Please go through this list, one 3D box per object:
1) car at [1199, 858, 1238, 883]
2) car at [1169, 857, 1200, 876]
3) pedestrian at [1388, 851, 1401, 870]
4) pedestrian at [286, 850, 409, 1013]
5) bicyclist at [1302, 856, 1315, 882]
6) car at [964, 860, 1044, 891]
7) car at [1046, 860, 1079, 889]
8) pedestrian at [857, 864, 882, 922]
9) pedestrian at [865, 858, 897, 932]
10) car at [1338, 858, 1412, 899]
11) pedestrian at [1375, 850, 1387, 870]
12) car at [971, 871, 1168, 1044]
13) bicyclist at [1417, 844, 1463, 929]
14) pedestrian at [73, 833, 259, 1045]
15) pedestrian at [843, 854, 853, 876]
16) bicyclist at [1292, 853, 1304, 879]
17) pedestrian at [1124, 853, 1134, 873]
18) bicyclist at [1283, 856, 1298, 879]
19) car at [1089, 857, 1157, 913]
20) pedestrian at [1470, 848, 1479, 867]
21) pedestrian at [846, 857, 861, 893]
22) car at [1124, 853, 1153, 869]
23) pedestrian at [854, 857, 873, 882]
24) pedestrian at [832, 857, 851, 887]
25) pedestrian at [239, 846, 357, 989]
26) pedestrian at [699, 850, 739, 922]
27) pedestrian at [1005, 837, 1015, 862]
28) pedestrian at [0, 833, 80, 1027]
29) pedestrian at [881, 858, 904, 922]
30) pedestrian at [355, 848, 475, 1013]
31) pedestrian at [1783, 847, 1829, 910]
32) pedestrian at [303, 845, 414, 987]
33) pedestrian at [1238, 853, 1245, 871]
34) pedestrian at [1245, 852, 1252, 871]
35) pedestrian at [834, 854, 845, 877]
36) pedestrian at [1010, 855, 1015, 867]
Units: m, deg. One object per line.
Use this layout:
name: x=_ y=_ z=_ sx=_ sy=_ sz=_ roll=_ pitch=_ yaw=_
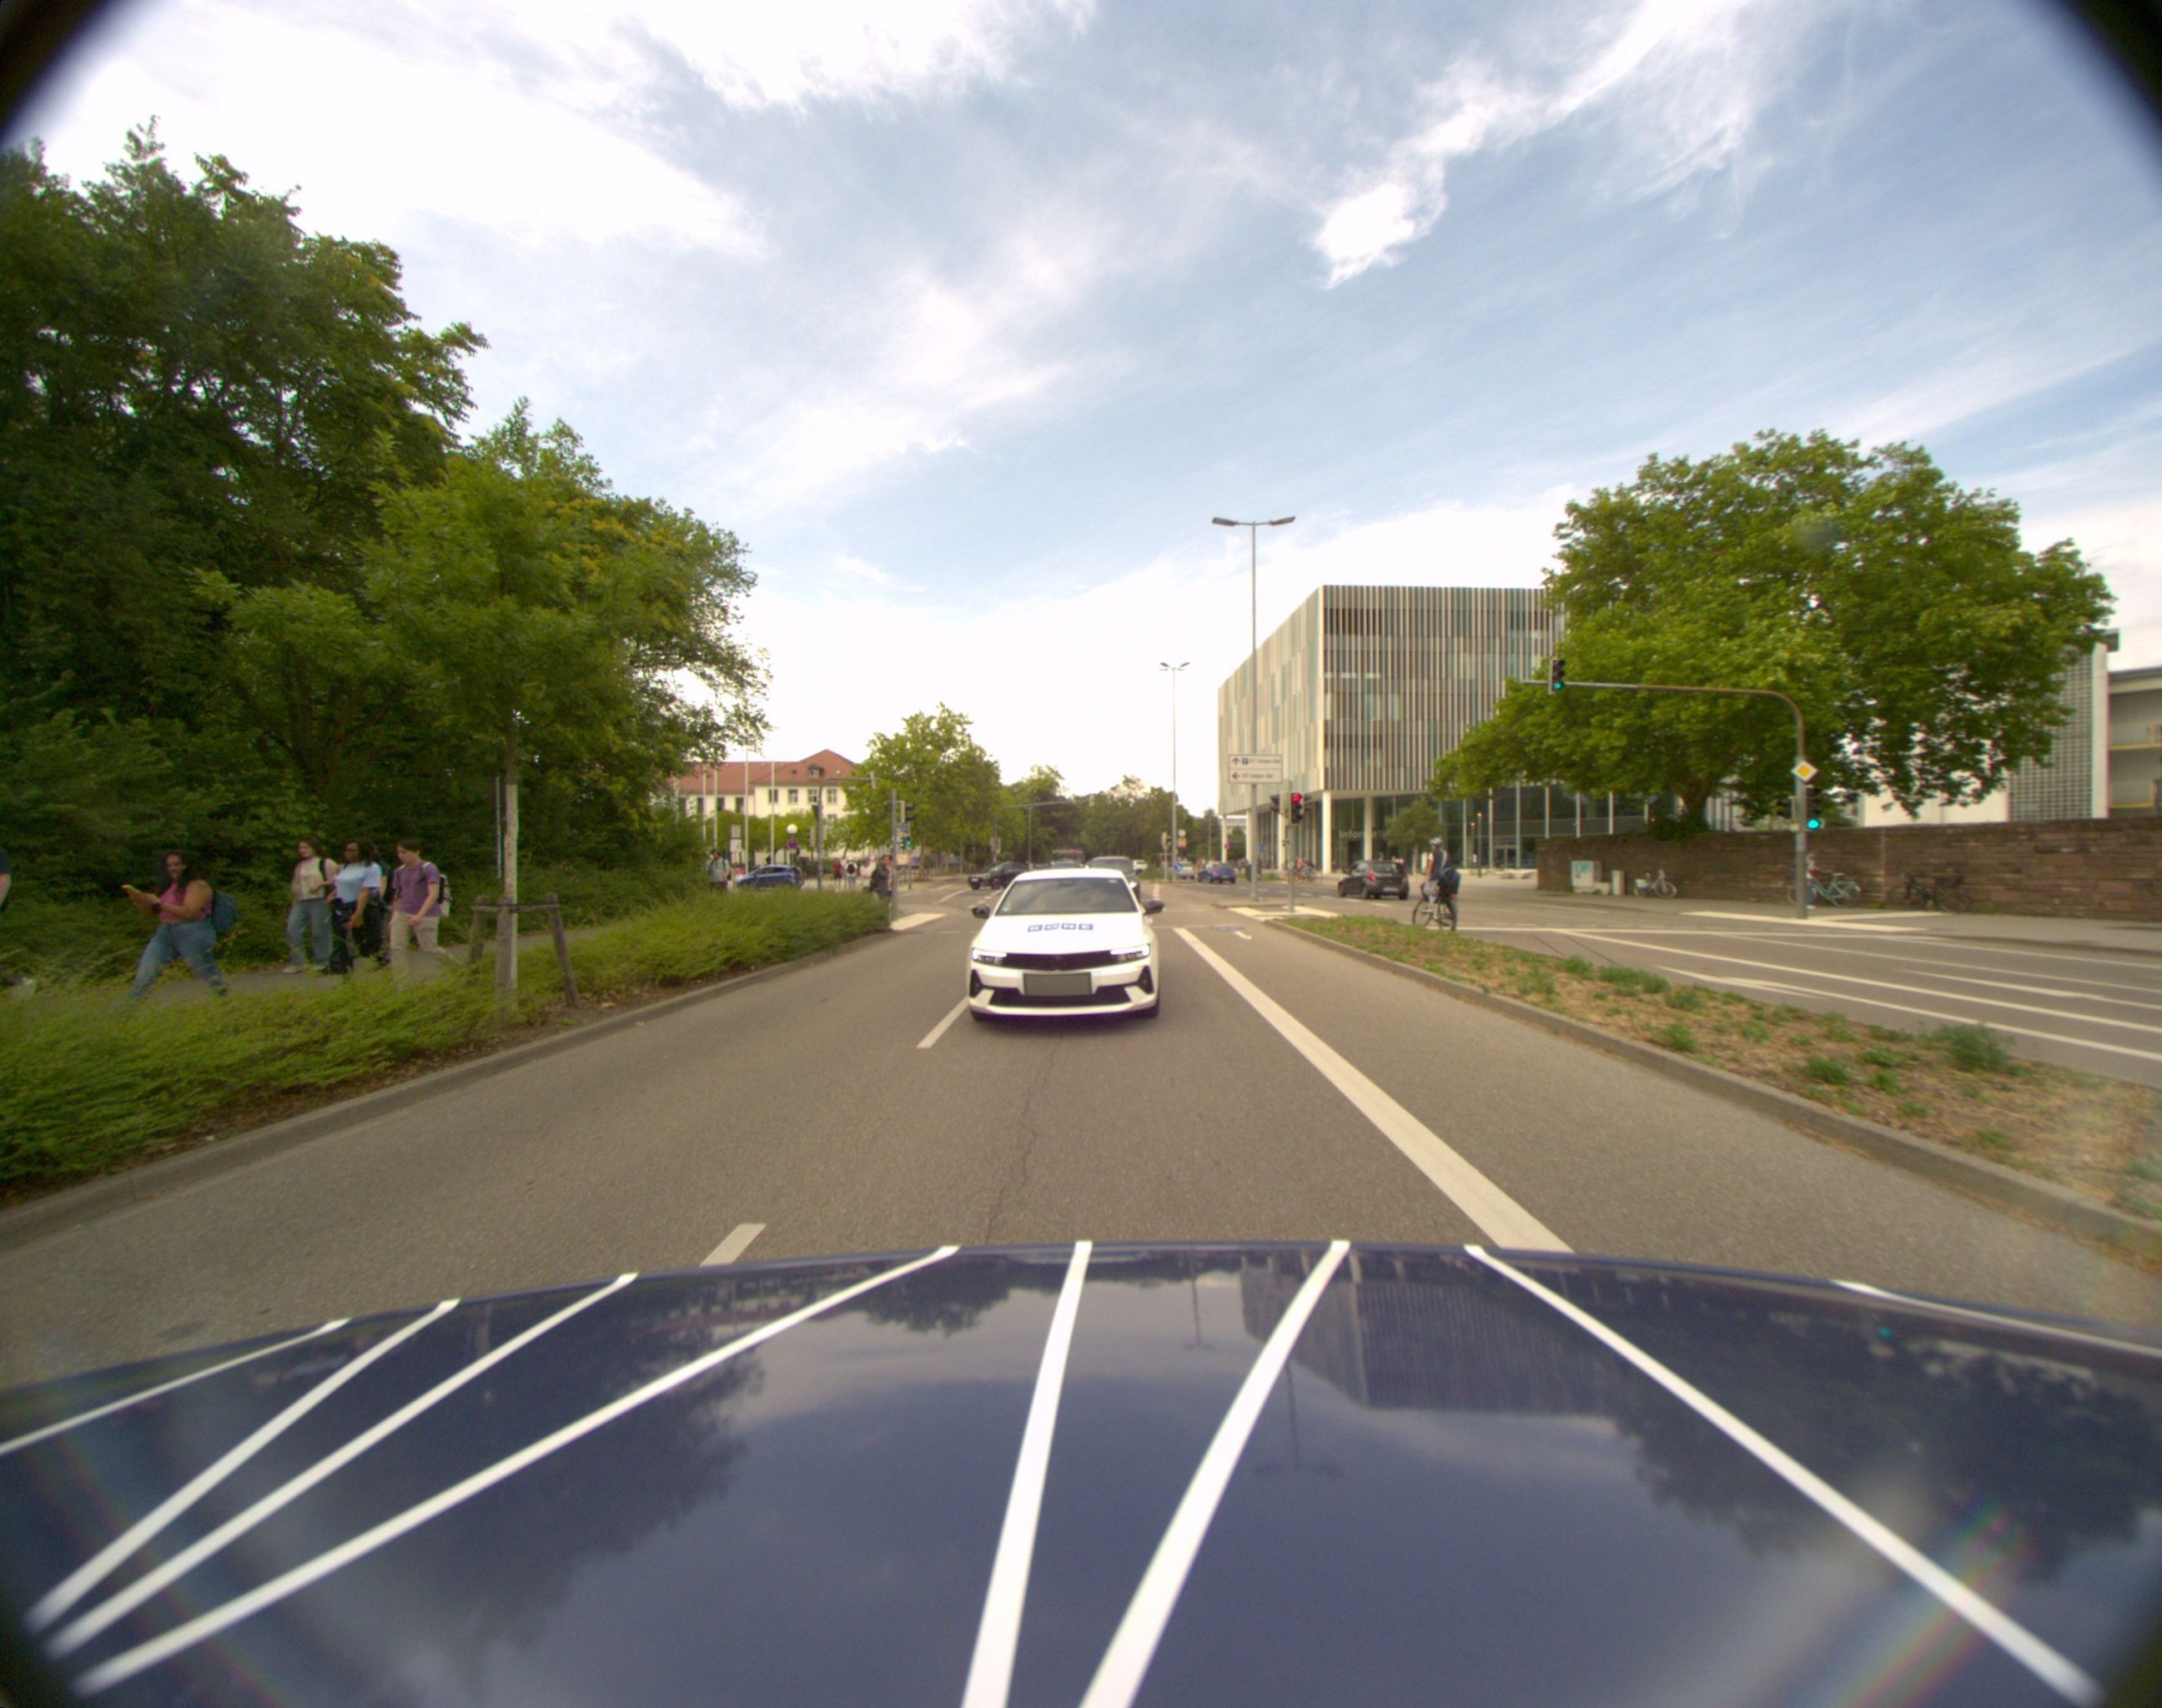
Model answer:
car: x=9.254 y=1.106 z=51.351 sx=1.806 sy=1.503 sz=4.102 roll=0 pitch=1 yaw=-1
car: x=8.487 y=1.037 z=62.615 sx=1.806 sy=1.480 sz=4.288 roll=0 pitch=0 yaw=-1
pedestrian: x=26.670 y=0.542 z=64.646 sx=0.731 sy=1.591 sz=0.677 roll=-1 pitch=1 yaw=-32
pedestrian: x=-8.122 y=0.823 z=8.448 sx=0.582 sy=1.735 sz=0.789 roll=0 pitch=0 yaw=-1
bicyclist: x=15.657 y=1.045 z=52.349 sx=0.602 sy=1.796 sz=0.561 roll=2 pitch=0 yaw=-18
car: x=-4.399 y=1.197 z=43.642 sx=4.183 sy=1.547 sz=1.800 roll=-2 pitch=1 yaw=-39
car: x=-1.027 y=1.092 z=41.314 sx=1.703 sy=1.485 sz=3.831 roll=0 pitch=0 yaw=-2
pedestrian: x=-6.207 y=1.142 z=22.345 sx=0.547 sy=1.677 sz=0.637 roll=0 pitch=1 yaw=-1
pedestrian: x=-4.788 y=0.973 z=18.225 sx=0.603 sy=1.725 sz=0.654 roll=0 pitch=1 yaw=-1
car: x=11.335 y=0.897 z=29.543 sx=1.575 sy=1.480 sz=3.637 roll=1 pitch=0 yaw=3
pedestrian: x=25.819 y=0.533 z=65.318 sx=0.731 sy=1.730 sz=0.677 roll=-1 pitch=1 yaw=-35
car: x=-0.190 y=0.969 z=9.163 sx=1.744 sy=1.430 sz=4.781 roll=0 pitch=0 yaw=-2
bicyclist: x=6.738 y=0.595 z=14.279 sx=0.573 sy=1.564 sz=0.699 roll=0 pitch=0 yaw=5
pedestrian: x=-7.918 y=0.698 z=6.616 sx=0.658 sy=1.735 sz=0.780 roll=0 pitch=0 yaw=-1
pedestrian: x=-20.886 y=0.993 z=68.097 sx=0.687 sy=1.951 sz=0.601 roll=-2 pitch=1 yaw=-41
bicyclist: x=15.431 y=0.836 z=54.057 sx=0.602 sy=1.796 sz=0.561 roll=-2 pitch=1 yaw=-16
pedestrian: x=4.435 y=0.803 z=70.256 sx=0.727 sy=1.842 sz=1.064 roll=-1 pitch=0 yaw=-4
bicyclist: x=15.381 y=1.005 z=55.872 sx=0.729 sy=1.663 sz=0.723 roll=-2 pitch=1 yaw=-16
car: x=1.287 y=0.940 z=25.018 sx=1.904 sy=1.639 sz=4.644 roll=-1 pitch=0 yaw=-1
pedestrian: x=35.936 y=0.333 z=69.369 sx=0.635 sy=1.768 sz=0.598 roll=0 pitch=1 yaw=44
pedestrian: x=-11.920 y=1.099 z=39.788 sx=0.647 sy=1.841 sz=0.828 roll=-2 pitch=1 yaw=-13
car: x=6.280 y=0.734 z=83.899 sx=1.871 sy=1.642 sz=4.416 roll=-1 pitch=0 yaw=-15
pedestrian: x=-14.886 y=1.060 z=51.966 sx=0.953 sy=1.698 sz=0.702 roll=-2 pitch=1 yaw=17
pedestrian: x=-14.448 y=1.088 z=45.892 sx=0.769 sy=1.794 sz=0.892 roll=-2 pitch=1 yaw=3
pedestrian: x=-9.844 y=0.773 z=9.583 sx=0.658 sy=1.735 sz=0.780 roll=0 pitch=0 yaw=-1
pedestrian: x=-9.274 y=0.807 z=19.492 sx=0.646 sy=1.785 sz=0.740 roll=0 pitch=1 yaw=-1
pedestrian: x=-5.083 y=-0.315 z=54.367 sx=0.574 sy=1.806 sz=0.682 roll=-1 pitch=1 yaw=1
pedestrian: x=-10.023 y=0.684 z=6.959 sx=0.658 sy=1.735 sz=0.780 roll=0 pitch=0 yaw=-1
pedestrian: x=-5.132 y=0.971 z=20.697 sx=0.455 sy=1.725 sz=0.637 roll=0 pitch=1 yaw=-1
pedestrian: x=-7.330 y=0.809 z=8.401 sx=0.626 sy=1.735 sz=0.780 roll=0 pitch=0 yaw=-1
pedestrian: x=20.925 y=0.694 z=21.943 sx=0.748 sy=1.772 sz=0.782 roll=-2 pitch=2 yaw=-33
pedestrian: x=-9.192 y=0.764 z=9.699 sx=0.658 sy=1.735 sz=0.780 roll=0 pitch=0 yaw=-1
pedestrian: x=15.643 y=0.781 z=74.094 sx=0.512 sy=1.826 sz=0.772 roll=0 pitch=-1 yaw=-2
pedestrian: x=16.375 y=0.743 z=74.158 sx=0.512 sy=1.826 sz=0.624 roll=0 pitch=0 yaw=-2
pedestrian: x=-21.460 y=1.014 z=67.479 sx=0.687 sy=1.951 sz=0.601 roll=-2 pitch=1 yaw=-41
pedestrian: x=-11.493 y=1.182 z=127.382 sx=0.798 sy=1.922 sz=0.760 roll=0 pitch=0 yaw=-2
